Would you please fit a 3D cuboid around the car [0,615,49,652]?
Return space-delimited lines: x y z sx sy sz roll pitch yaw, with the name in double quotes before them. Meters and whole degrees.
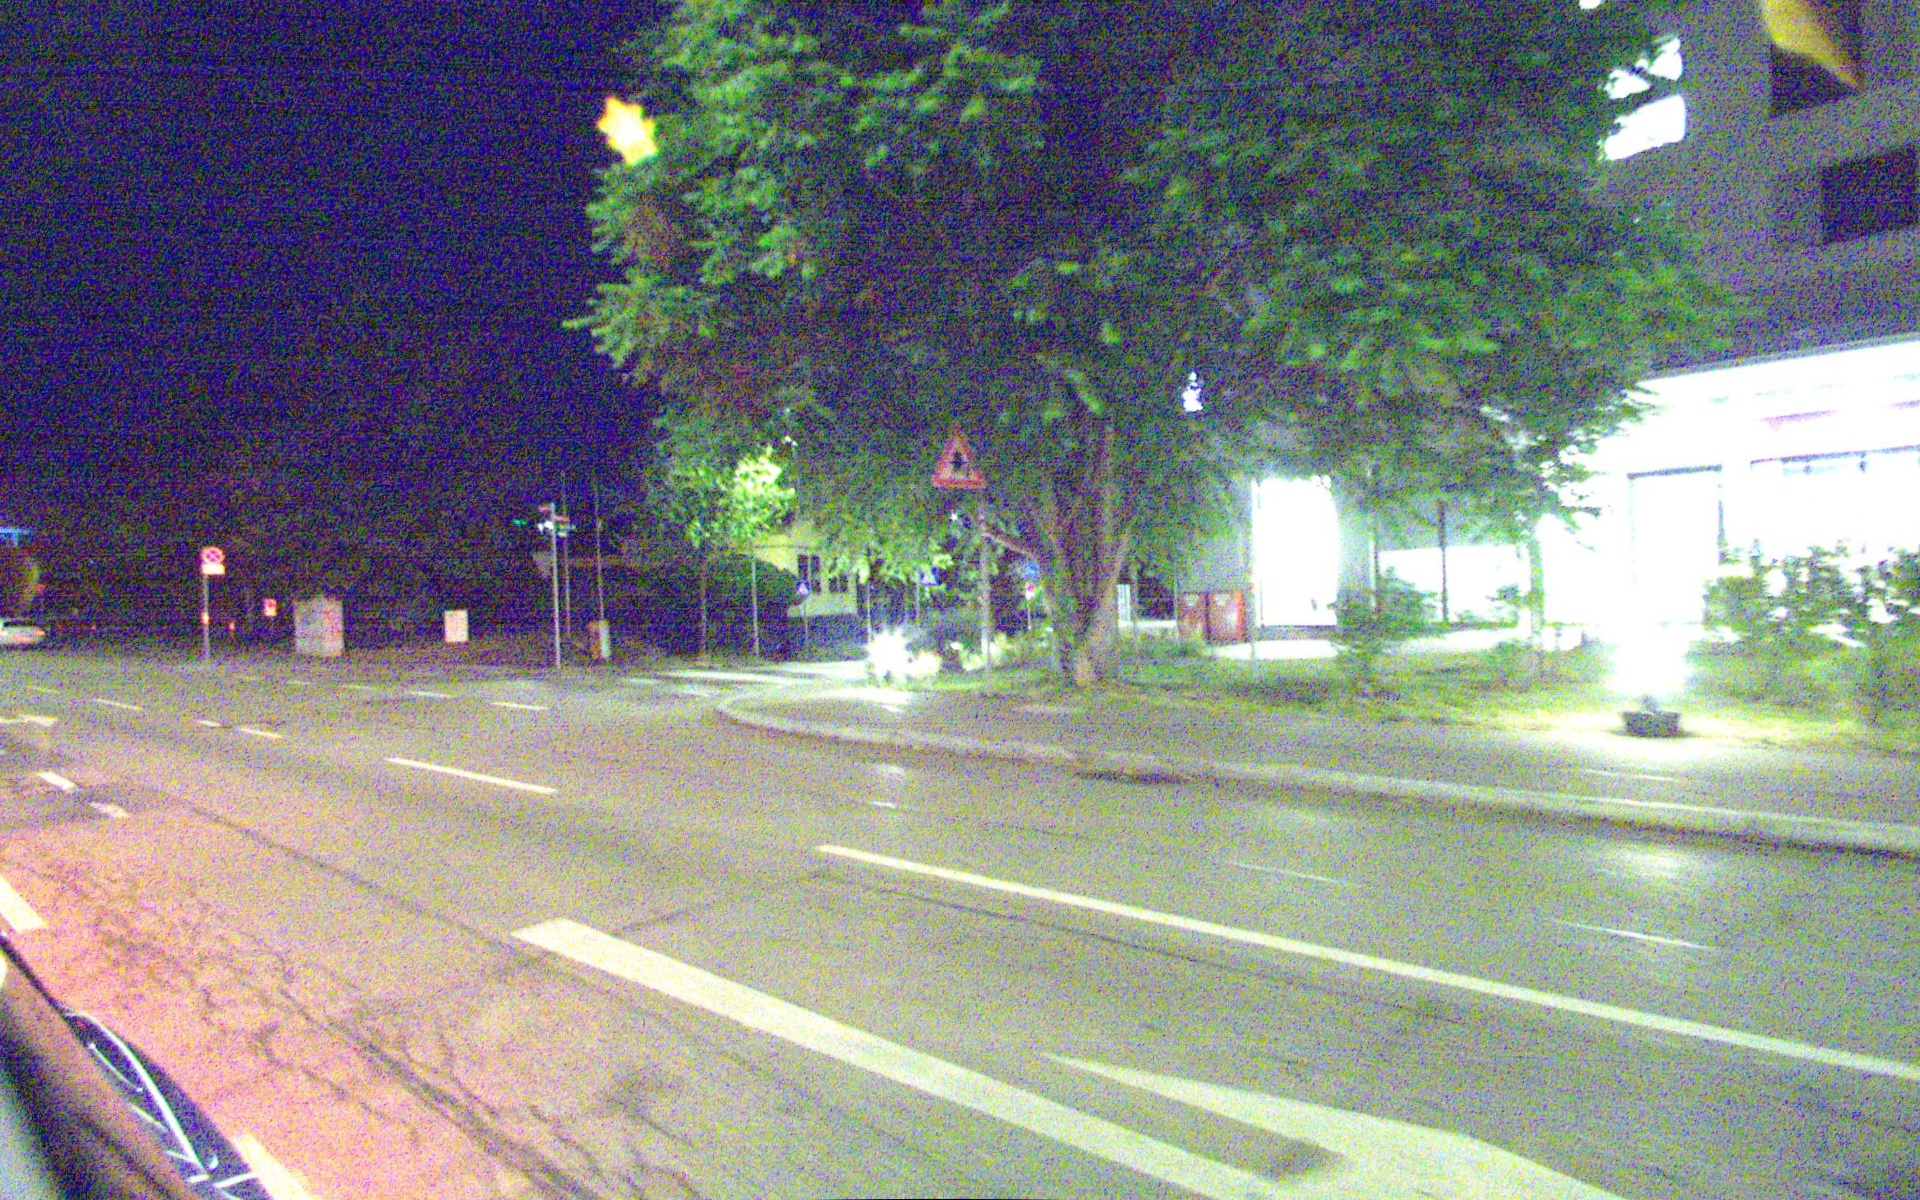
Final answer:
"car" -42.376 1.489 45.316 3.999 1.464 1.886 1 2 42
